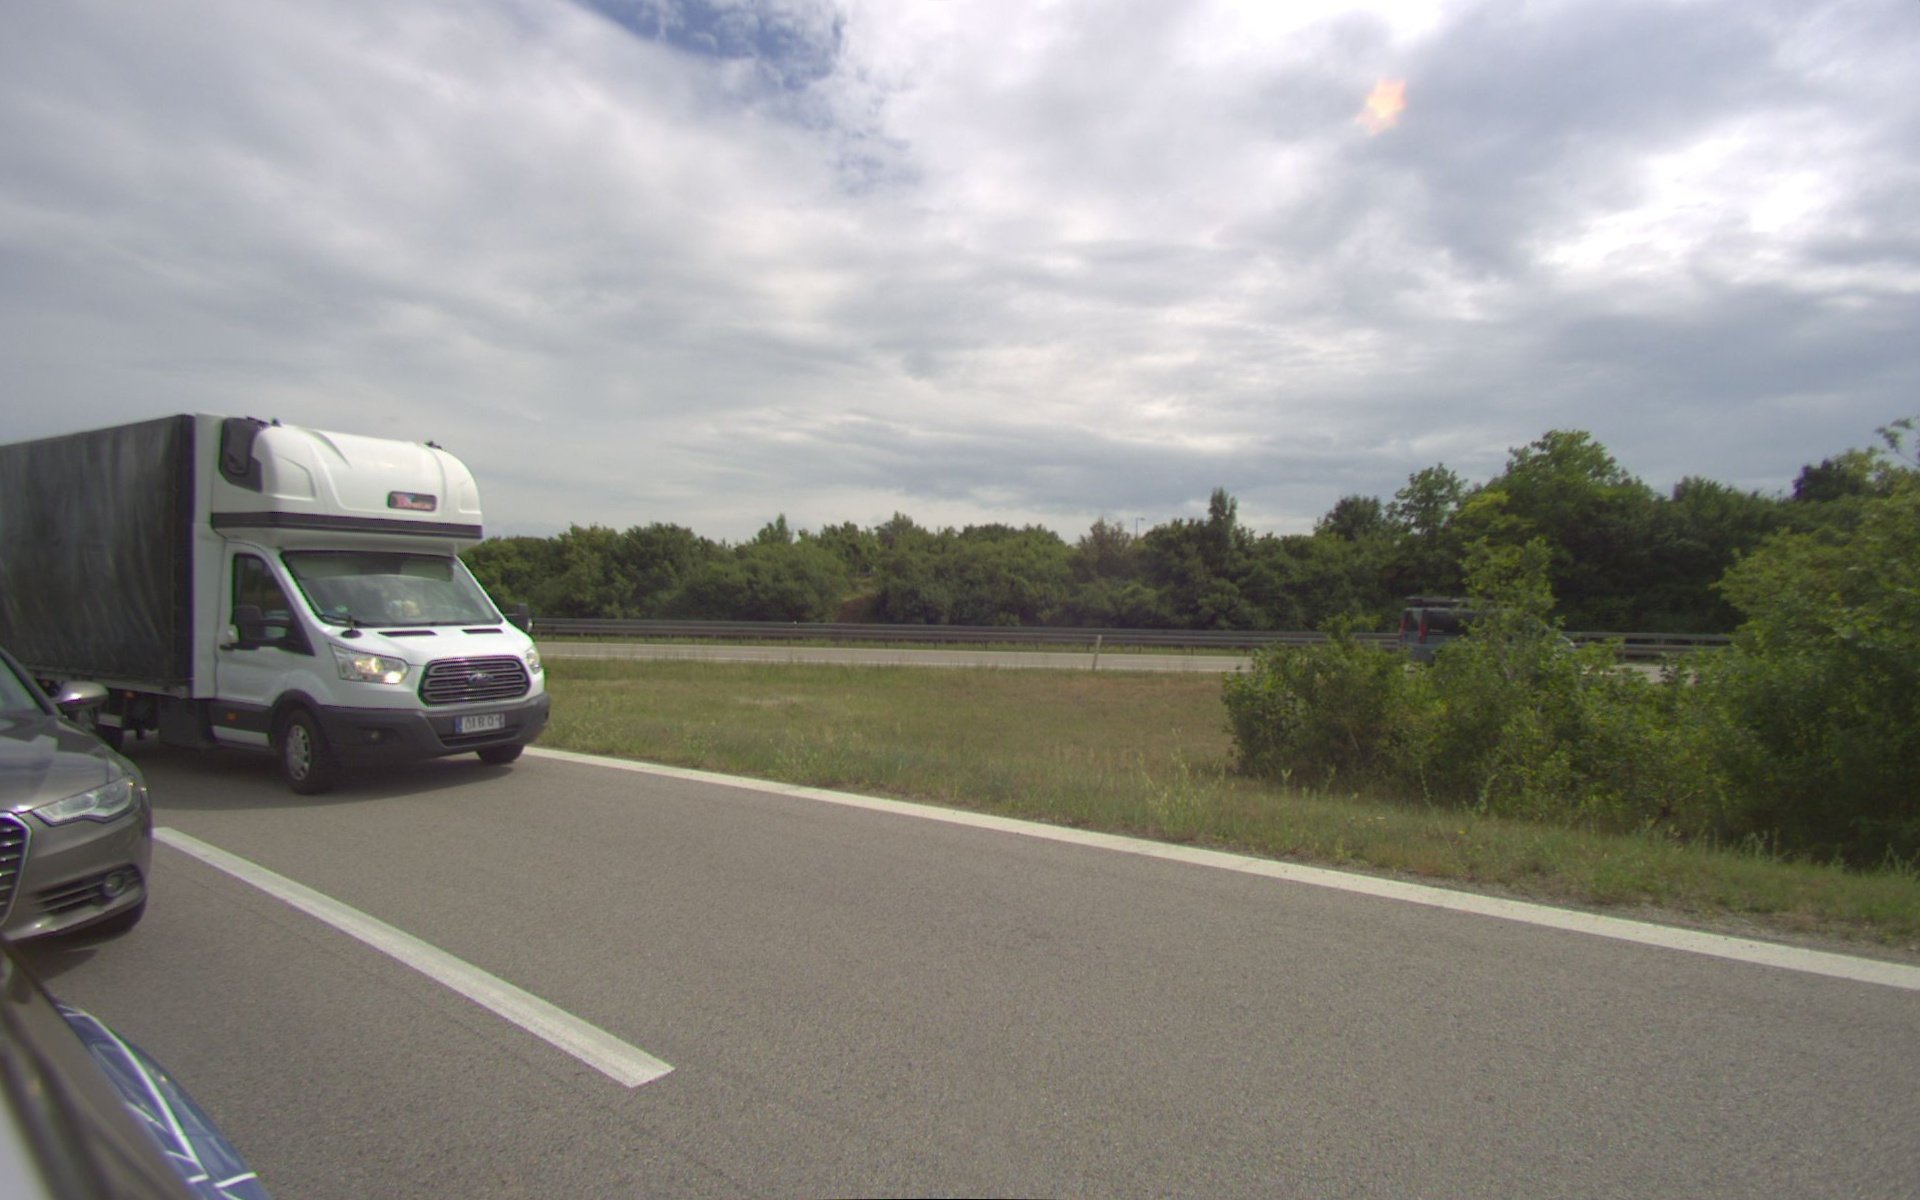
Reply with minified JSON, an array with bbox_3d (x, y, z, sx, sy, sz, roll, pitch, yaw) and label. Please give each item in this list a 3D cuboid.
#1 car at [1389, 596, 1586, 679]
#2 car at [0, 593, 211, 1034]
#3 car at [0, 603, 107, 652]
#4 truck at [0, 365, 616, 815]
[{"bbox_3d":[15.525,1.065,30.023,4.750,2.276,1.996,1,0,6],"label":"car"},{"bbox_3d":[-5.303,0.769,4.671,4.535,1.526,1.973,-1,-1,40],"label":"car"},{"bbox_3d":[-33.386,0.946,36.044,4.754,1.614,1.995,1,0,9],"label":"car"},{"bbox_3d":[-7.076,-0.038,10.098,7.434,3.191,2.544,-1,0,29],"label":"truck"}]
